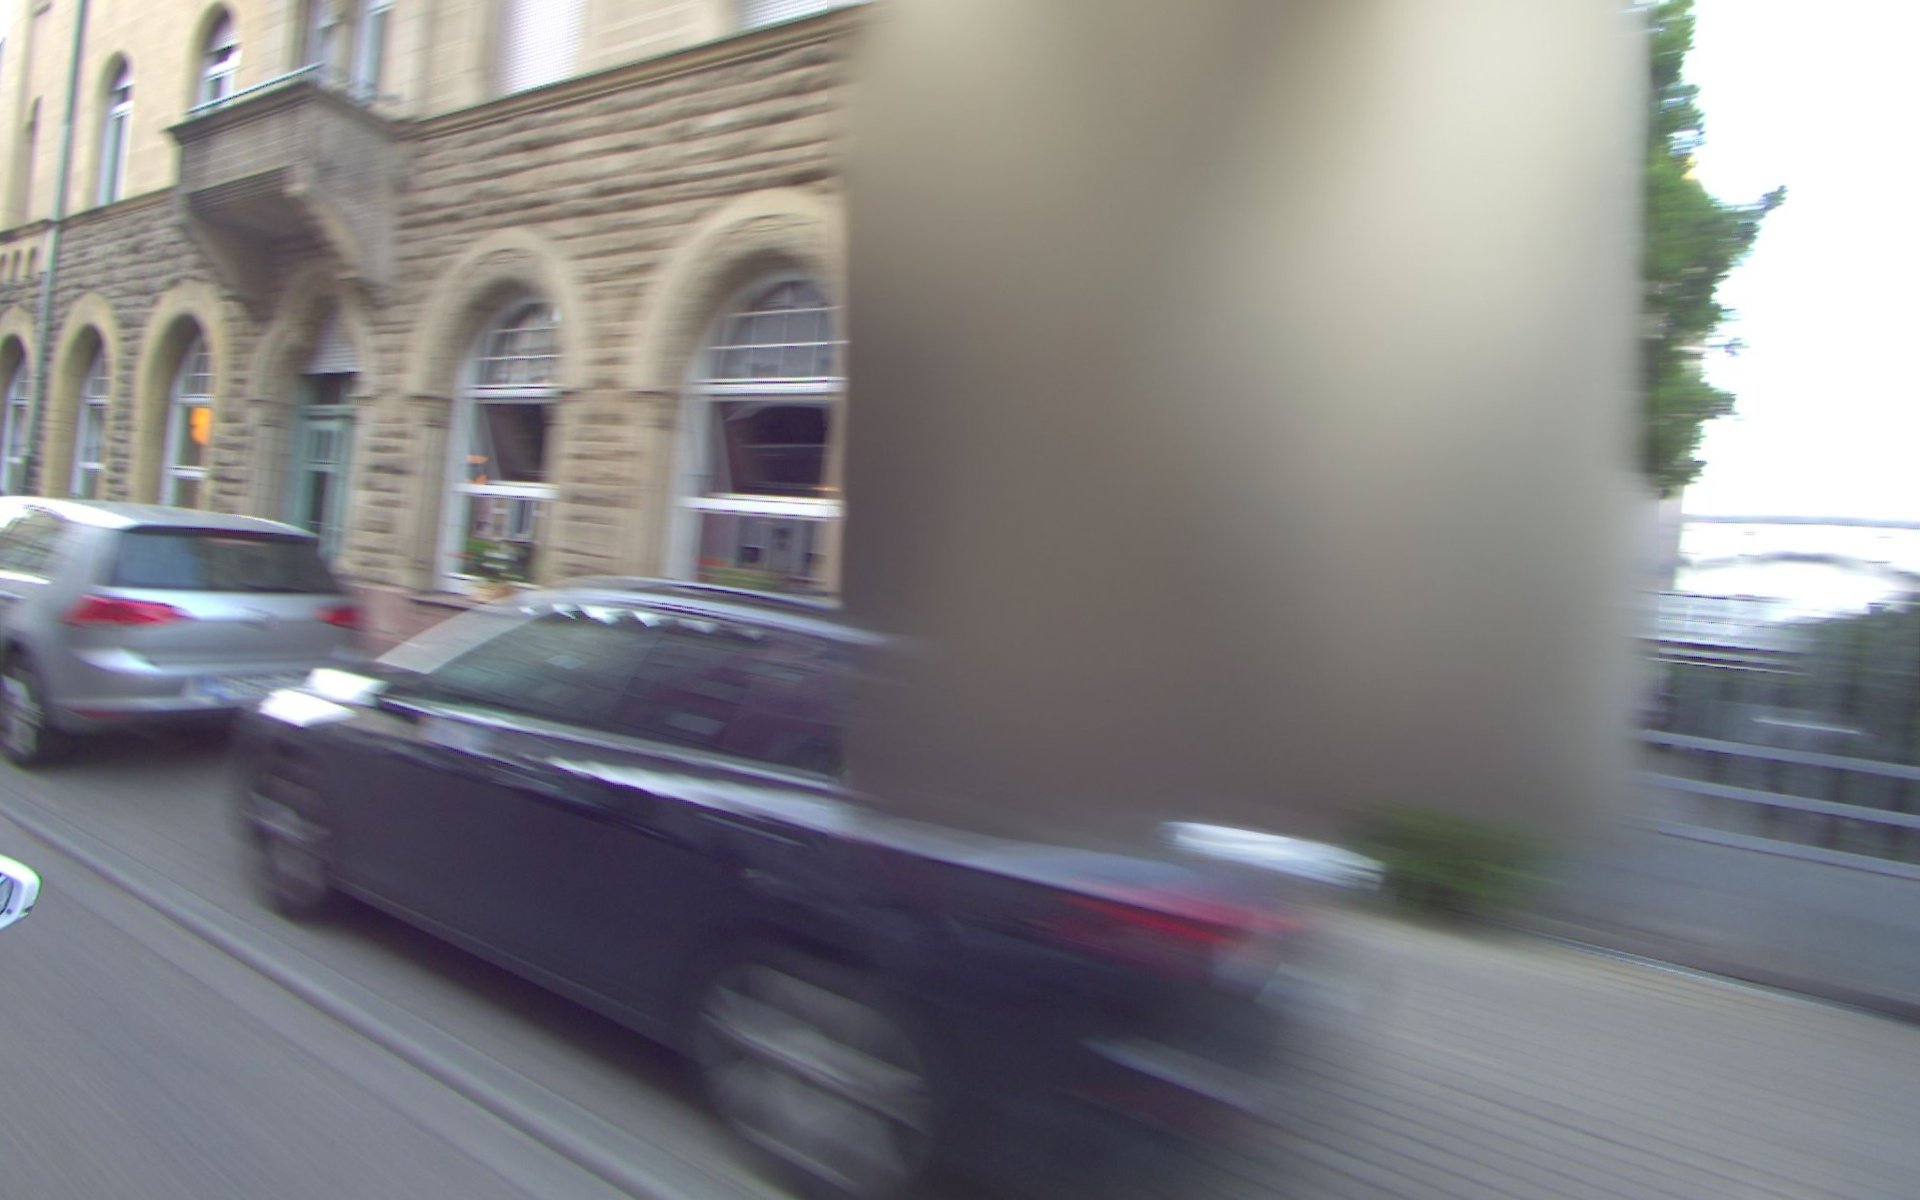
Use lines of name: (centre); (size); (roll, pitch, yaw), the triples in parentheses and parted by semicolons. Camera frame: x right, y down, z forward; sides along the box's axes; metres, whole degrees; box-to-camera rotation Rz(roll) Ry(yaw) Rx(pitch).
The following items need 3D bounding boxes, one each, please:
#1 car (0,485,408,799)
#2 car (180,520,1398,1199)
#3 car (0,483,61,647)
car: (-5.742, 0.055, 6.700); (4.158, 1.476, 1.677); (7, 3, 30)
car: (-0.940, 0.625, 3.746); (4.404, 1.448, 1.676); (7, 3, 32)
car: (-10.528, -0.507, 9.593); (3.734, 1.476, 1.678); (7, 3, 27)
